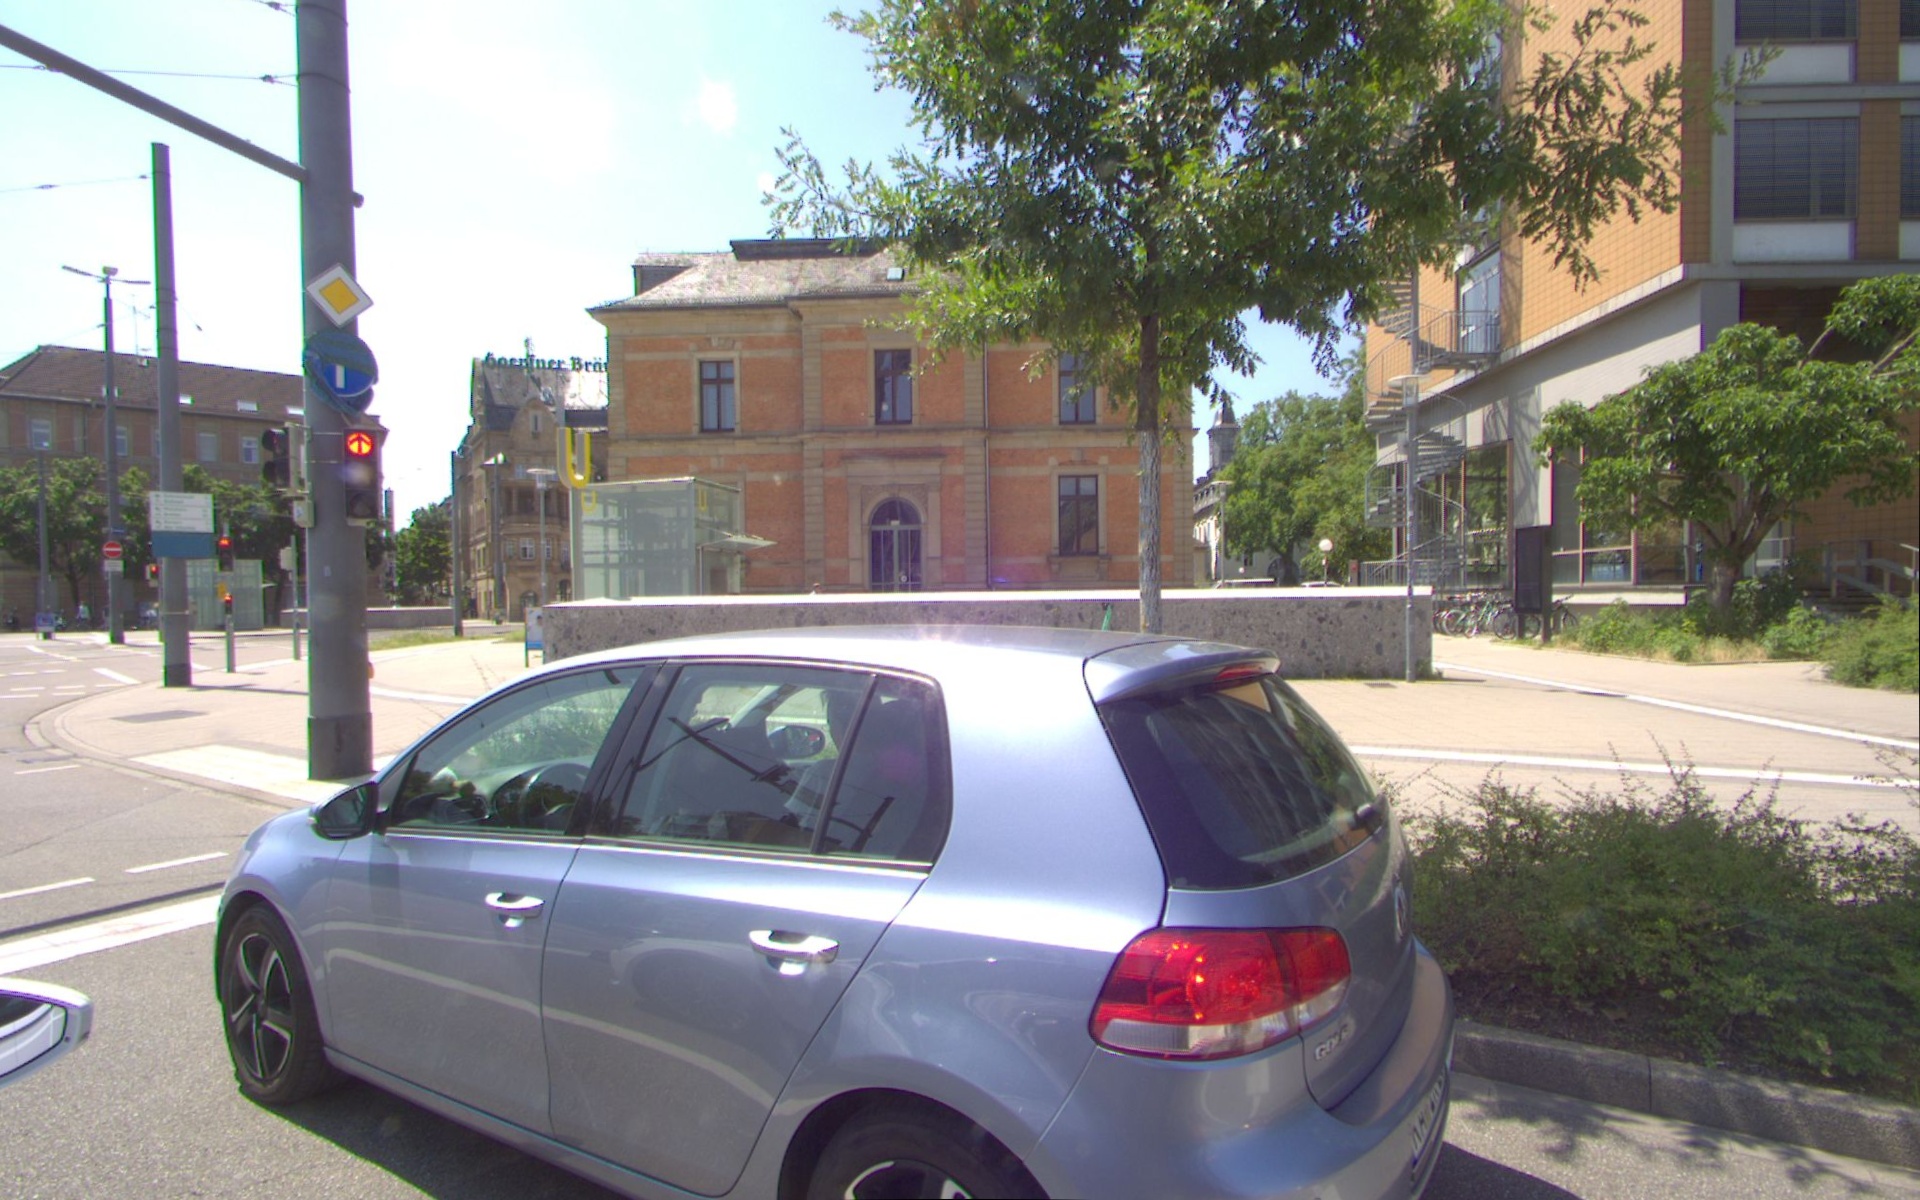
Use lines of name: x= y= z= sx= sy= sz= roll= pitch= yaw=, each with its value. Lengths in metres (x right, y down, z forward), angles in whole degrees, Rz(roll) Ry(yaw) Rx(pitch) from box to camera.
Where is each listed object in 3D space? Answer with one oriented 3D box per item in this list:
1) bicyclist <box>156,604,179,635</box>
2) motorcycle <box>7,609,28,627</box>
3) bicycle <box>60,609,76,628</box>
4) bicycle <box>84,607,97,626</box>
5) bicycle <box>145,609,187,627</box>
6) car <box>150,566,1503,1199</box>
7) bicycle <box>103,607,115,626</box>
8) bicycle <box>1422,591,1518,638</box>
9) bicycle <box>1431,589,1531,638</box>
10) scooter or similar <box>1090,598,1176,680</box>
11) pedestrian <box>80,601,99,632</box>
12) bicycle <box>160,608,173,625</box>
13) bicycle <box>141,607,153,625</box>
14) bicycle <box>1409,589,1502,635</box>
bicyclist: x=-47.408 y=1.186 z=59.911 sx=0.469 sy=1.831 sz=1.064 roll=0 pitch=-1 yaw=8
motorcycle: x=-56.226 y=1.064 z=59.723 sx=1.920 sy=1.089 sz=0.578 roll=0 pitch=1 yaw=36
bicycle: x=-55.271 y=1.167 z=62.037 sx=2.069 sy=1.160 sz=0.440 roll=-2 pitch=-2 yaw=39
bicycle: x=-54.150 y=1.029 z=62.381 sx=0.546 sy=1.135 sz=1.805 roll=-1 pitch=0 yaw=-39
bicycle: x=-47.418 y=1.057 z=59.823 sx=0.679 sy=1.066 sz=2.112 roll=0 pitch=0 yaw=8
car: x=-0.628 y=0.729 z=3.046 sx=3.945 sy=1.478 sz=1.649 roll=0 pitch=-1 yaw=32
bicycle: x=-53.453 y=1.026 z=62.879 sx=0.547 sy=1.135 sz=1.804 roll=-1 pitch=1 yaw=-41
bicycle: x=13.477 y=0.389 z=26.506 sx=2.175 sy=1.234 sz=0.637 roll=0 pitch=-1 yaw=5
bicycle: x=13.368 y=0.349 z=25.730 sx=2.175 sy=1.234 sz=0.637 roll=0 pitch=-1 yaw=5
scooter or similar: x=2.568 y=0.572 z=14.808 sx=1.227 sy=1.186 sz=0.458 roll=0 pitch=1 yaw=13
pedestrian: x=-49.336 y=0.925 z=56.754 sx=0.627 sy=1.731 sz=0.462 roll=0 pitch=1 yaw=7
bicycle: x=-52.046 y=1.071 z=65.681 sx=0.547 sy=1.135 sz=1.912 roll=-1 pitch=1 yaw=-41
bicycle: x=-52.731 y=1.057 z=64.923 sx=0.547 sy=1.135 sz=1.854 roll=-1 pitch=1 yaw=-41
bicycle: x=13.477 y=0.330 z=27.266 sx=2.175 sy=1.234 sz=0.637 roll=0 pitch=-1 yaw=5
